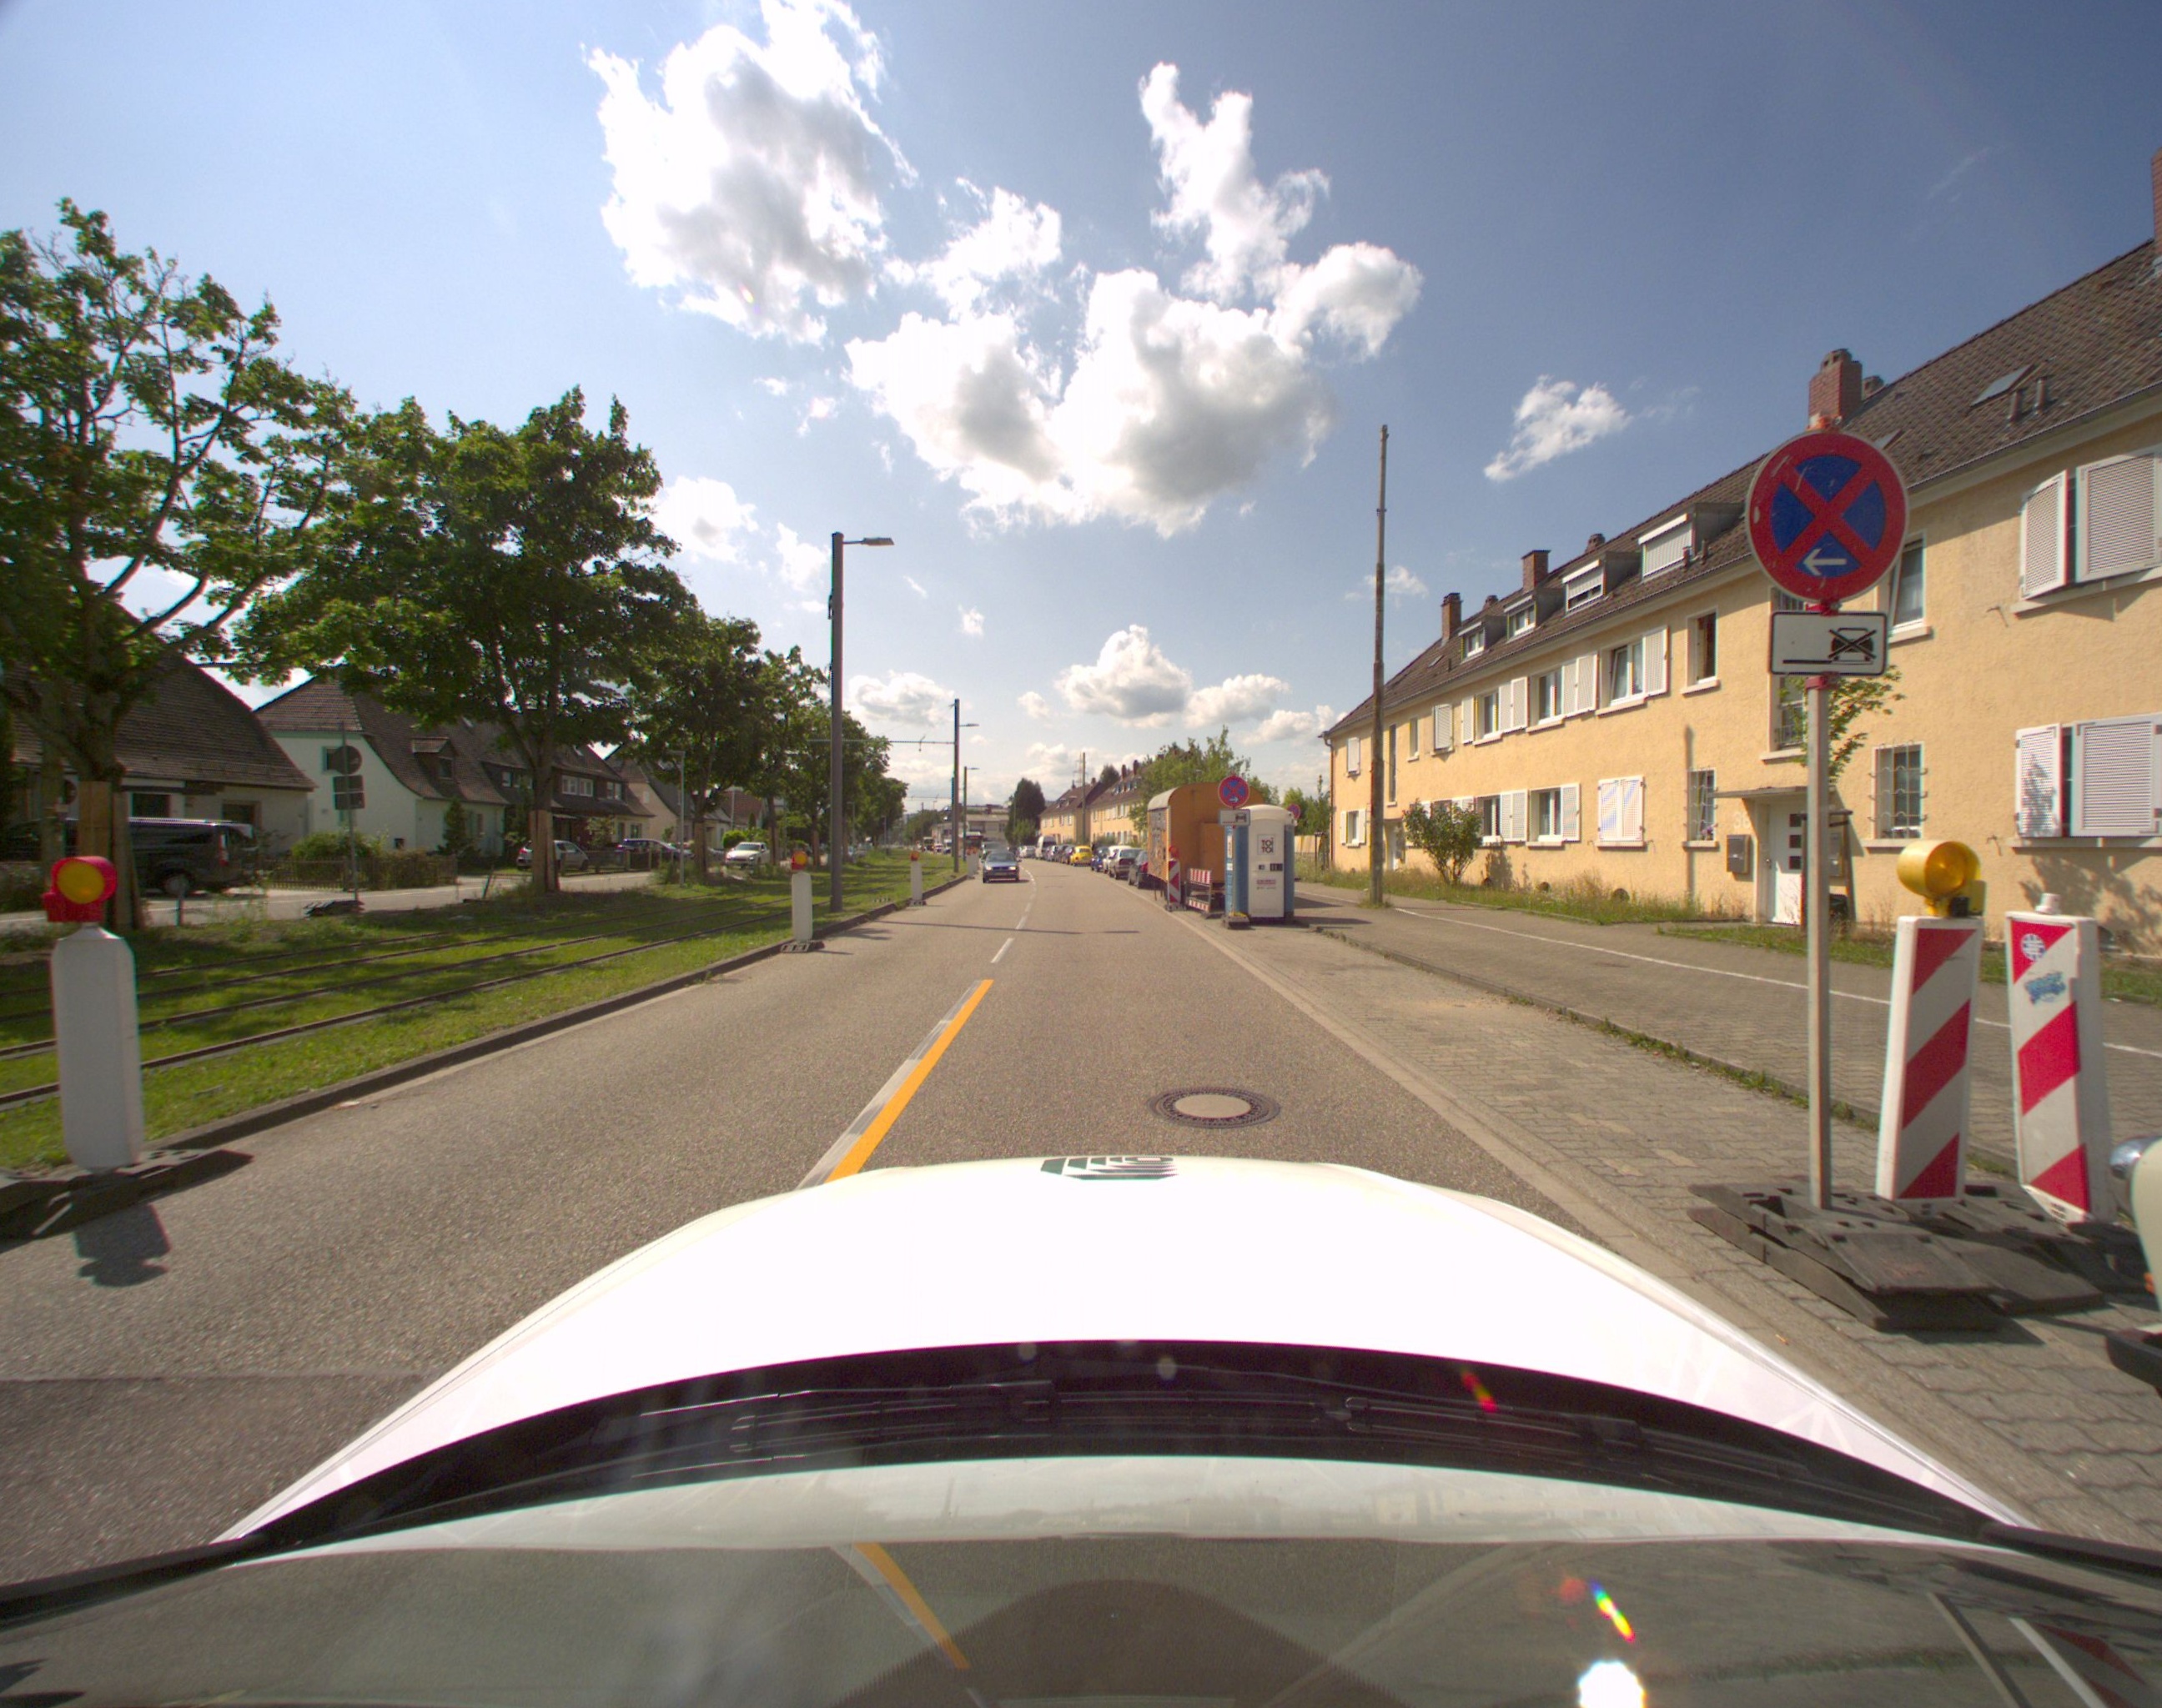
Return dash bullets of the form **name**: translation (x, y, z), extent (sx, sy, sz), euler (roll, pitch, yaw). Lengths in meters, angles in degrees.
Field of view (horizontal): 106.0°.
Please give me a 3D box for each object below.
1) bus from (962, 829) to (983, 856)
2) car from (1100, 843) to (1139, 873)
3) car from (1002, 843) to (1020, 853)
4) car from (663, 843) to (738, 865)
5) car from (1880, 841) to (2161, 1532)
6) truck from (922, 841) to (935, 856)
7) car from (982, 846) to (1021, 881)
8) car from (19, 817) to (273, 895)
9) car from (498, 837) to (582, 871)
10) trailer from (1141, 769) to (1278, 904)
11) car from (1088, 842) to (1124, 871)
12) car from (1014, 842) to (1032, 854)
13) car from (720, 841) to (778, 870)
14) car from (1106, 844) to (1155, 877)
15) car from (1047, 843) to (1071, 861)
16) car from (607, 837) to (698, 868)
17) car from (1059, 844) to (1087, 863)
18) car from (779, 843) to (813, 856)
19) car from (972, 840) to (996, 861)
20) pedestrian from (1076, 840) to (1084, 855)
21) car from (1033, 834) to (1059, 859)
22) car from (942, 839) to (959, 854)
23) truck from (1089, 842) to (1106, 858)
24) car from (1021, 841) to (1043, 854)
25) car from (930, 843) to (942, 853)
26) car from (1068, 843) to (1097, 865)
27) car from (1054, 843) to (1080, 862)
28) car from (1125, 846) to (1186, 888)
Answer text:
- **bus**: translation (-14.870, -1.609, 111.264), extent (2.634, 3.412, 12.216), euler (-1, 1, -8)
- **car**: translation (2.015, 0.181, 43.272), extent (1.574, 1.513, 4.453), euler (0, 1, -4)
- **car**: translation (-9.611, -0.830, 111.791), extent (1.766, 1.417, 3.981), euler (-2, 1, -14)
- **car**: translation (-27.241, -0.023, 58.465), extent (4.469, 1.523, 1.920), euler (0, 0, -9)
- **car**: translation (3.066, 0.727, 0.342), extent (1.458, 1.502, 4.109), euler (-1, 0, 0)
- **truck**: translation (-36.379, -1.420, 194.325), extent (2.564, 3.459, 7.113), euler (-2, 1, -15)
- **car**: translation (-3.660, 0.395, 38.023), extent (1.662, 1.449, 3.954), euler (-2, 1, -4)
- **car**: translation (-24.572, 0.078, 21.619), extent (3.899, 1.897, 1.929), euler (2, 0, -23)
- **car**: translation (-25.895, -0.016, 39.123), extent (1.727, 1.517, 4.034), euler (0, 0, -7)
- **trailer**: translation (3.272, -0.437, 22.017), extent (2.684, 3.226, 5.077), euler (0, 0, -3)
- **car**: translation (1.457, 0.104, 48.374), extent (1.547, 1.641, 4.237), euler (0, 1, -7)
- **car**: translation (-7.341, -0.744, 103.138), extent (1.623, 1.417, 3.981), euler (-2, 1, -14)
- **car**: translation (-21.247, 0.065, 52.389), extent (1.877, 1.768, 5.077), euler (0, 0, -3)
- **car**: translation (2.250, 0.272, 38.185), extent (1.703, 1.449, 4.828), euler (0, 1, -4)
- **car**: translation (-2.039, -0.213, 75.142), extent (1.636, 1.602, 4.016), euler (0, 1, -9)
- **car**: translation (-26.294, -0.104, 50.124), extent (4.469, 1.836, 2.059), euler (0, 0, -9)
- **car**: translation (-0.652, -0.034, 65.831), extent (1.636, 1.482, 4.111), euler (0, 1, -9)
- **car**: translation (-36.599, -0.594, 104.577), extent (3.996, 1.571, 1.785), euler (0, 1, -17)
- **car**: translation (-9.397, -0.401, 79.250), extent (1.951, 1.966, 5.287), euler (-1, 1, -3)
- **pedestrian**: translation (-0.117, -0.735, 89.258), extent (0.853, 1.652, 0.635), euler (1, 0, -9)
- **car**: translation (-3.704, -0.790, 85.286), extent (1.930, 2.480, 5.498), euler (-1, 1, -10)
- **car**: translation (-21.645, -1.263, 134.997), extent (2.106, 2.443, 5.542), euler (0, 0, -15)
- **truck**: translation (1.657, -0.425, 83.817), extent (1.346, 1.688, 2.433), euler (0, 0, -10)
- **car**: translation (-5.936, -0.773, 97.813), extent (1.802, 1.458, 4.741), euler (-2, 0, -14)
- **car**: translation (-25.029, -1.067, 140.939), extent (1.737, 1.773, 4.287), euler (0, 1, -14)
- **car**: translation (0.068, -0.025, 60.855), extent (1.635, 1.482, 3.922), euler (-3, 2, -7)
- **car**: translation (-1.281, -0.135, 71.355), extent (1.637, 1.602, 3.916), euler (0, 1, -11)
- **car**: translation (2.694, 0.418, 30.320), extent (1.574, 1.449, 4.447), euler (0, 1, -4)
